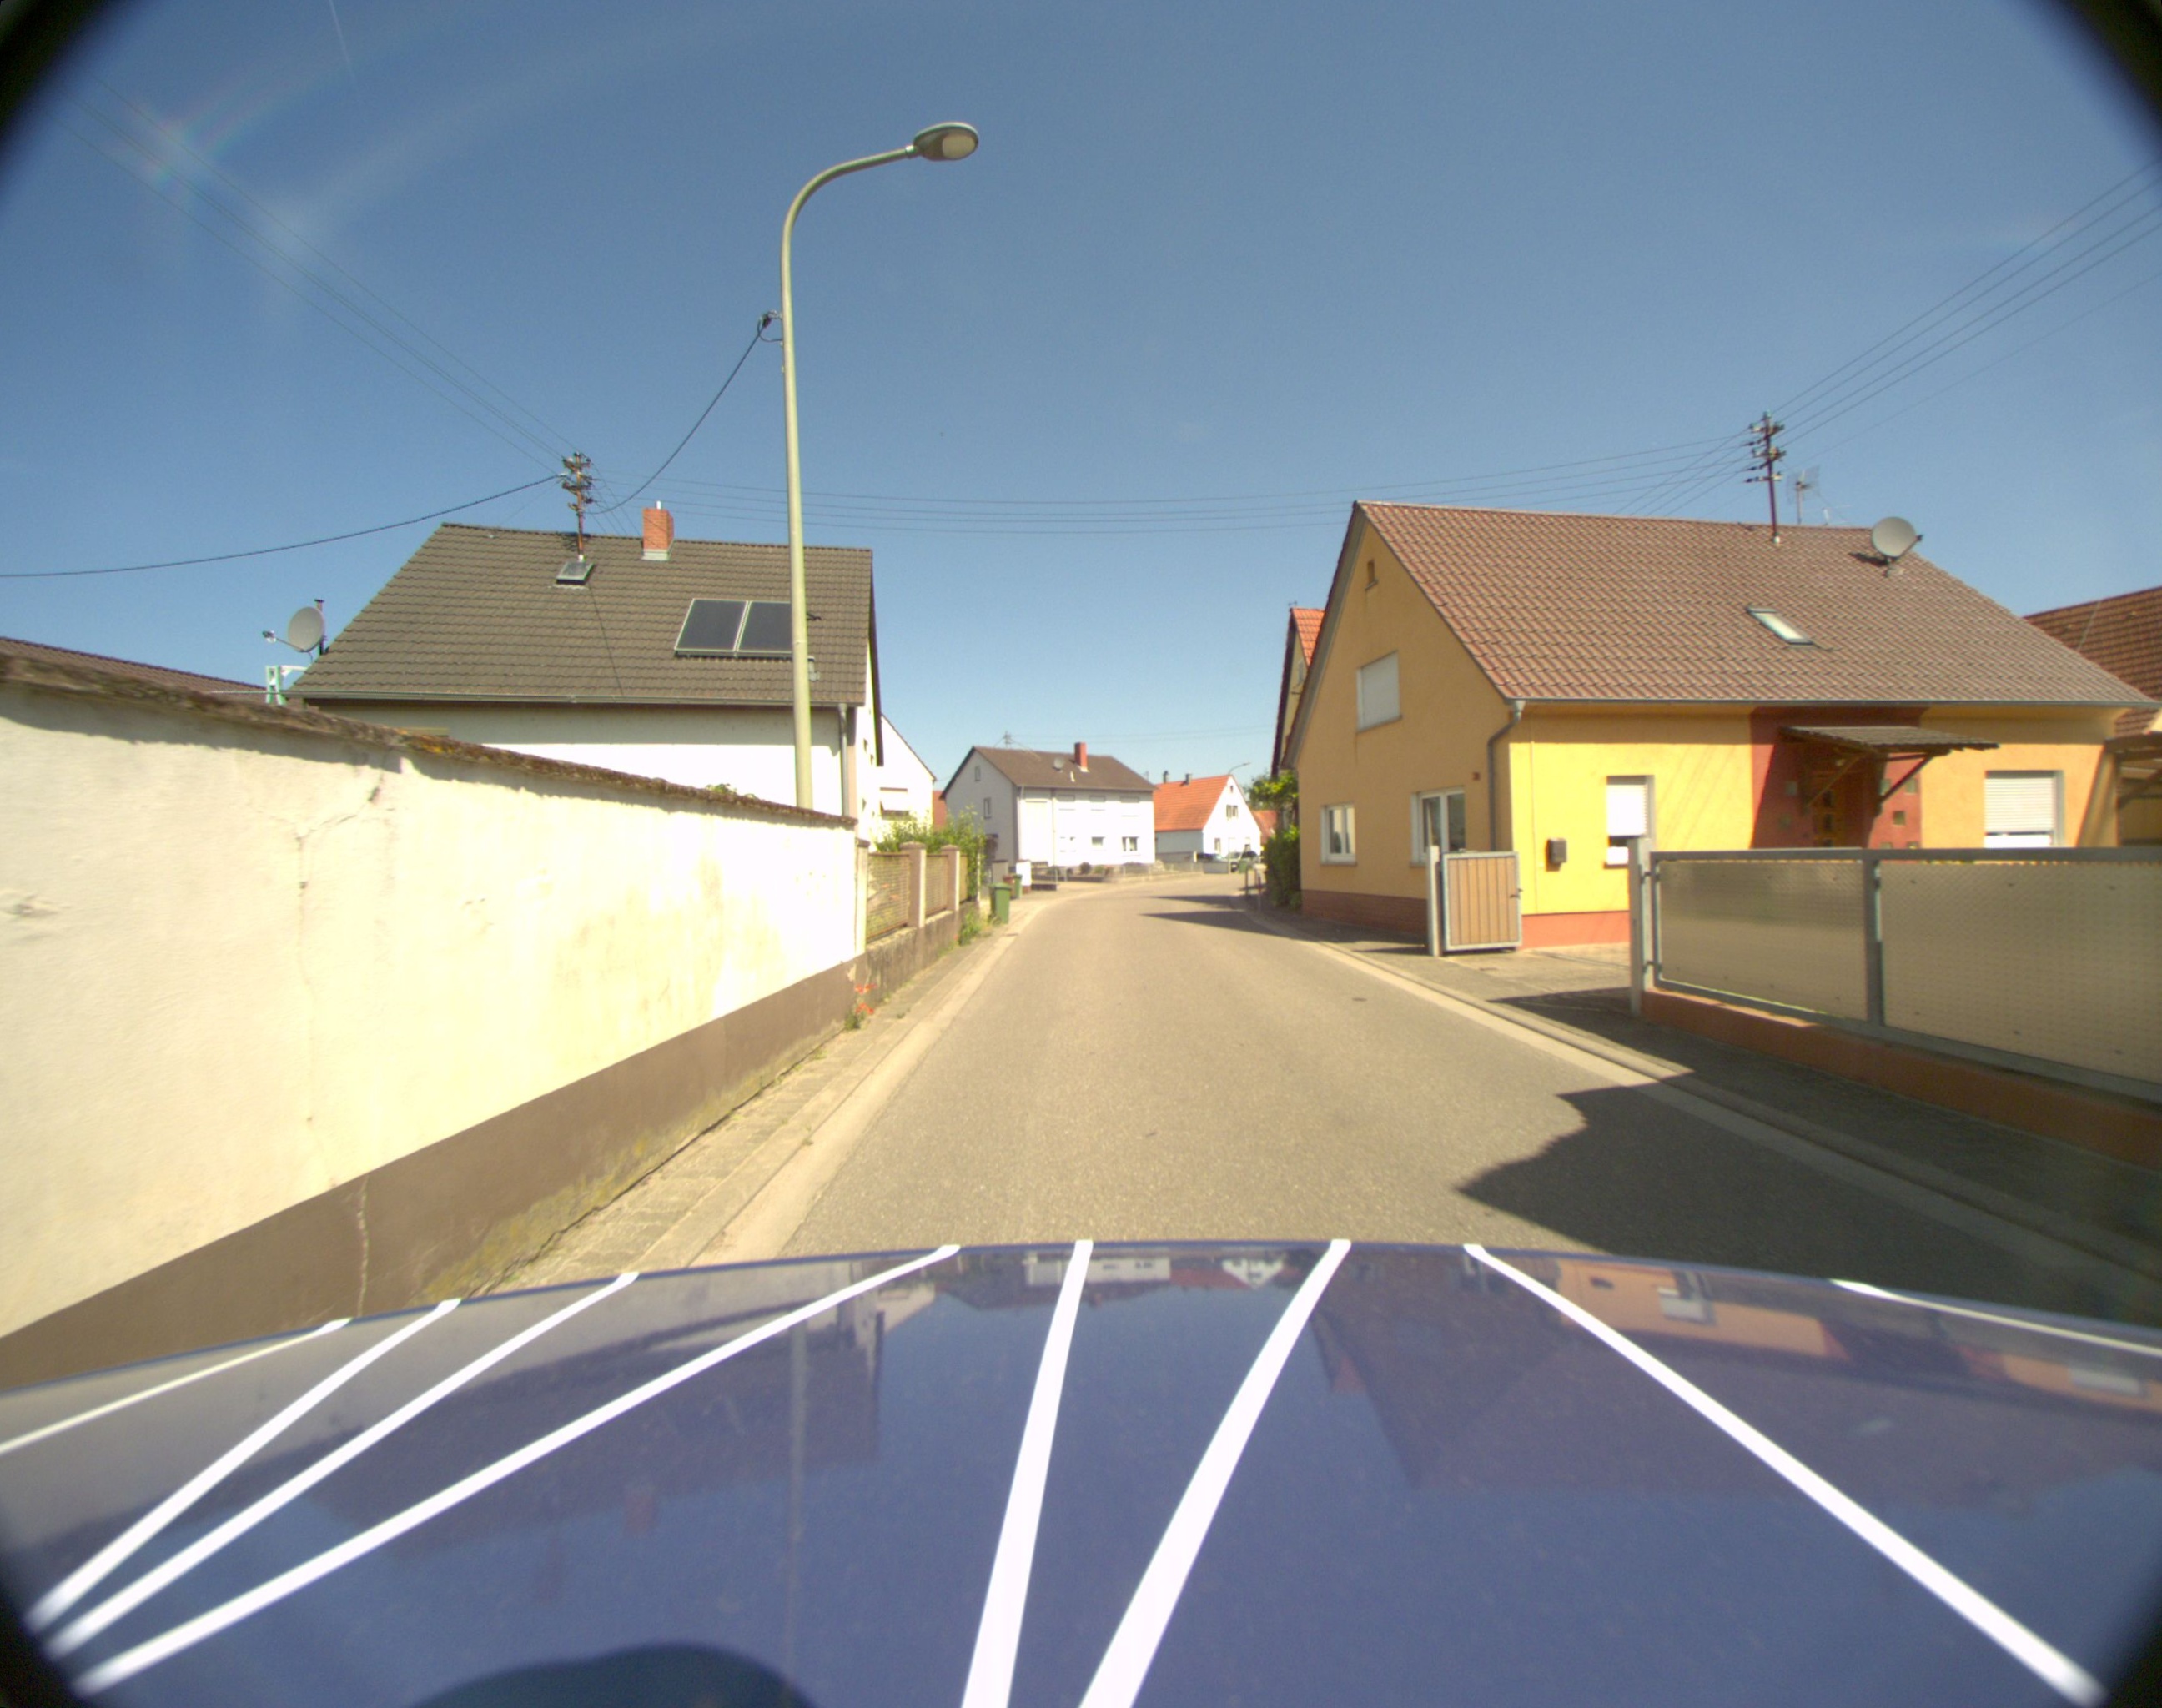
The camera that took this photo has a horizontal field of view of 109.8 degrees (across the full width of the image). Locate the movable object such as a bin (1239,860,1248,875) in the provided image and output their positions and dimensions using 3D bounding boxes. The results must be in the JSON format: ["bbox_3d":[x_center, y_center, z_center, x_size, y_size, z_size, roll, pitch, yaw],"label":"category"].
[{"bbox_3d":[12.284,1.011,57.534,0.570,1.136,0.433,-1,0,0],"label":"movable object such as a bin"}]

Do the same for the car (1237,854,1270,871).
[{"bbox_3d":[14.808,0.731,65.233,1.521,1.366,3.605,-1,0,34],"label":"car"}]

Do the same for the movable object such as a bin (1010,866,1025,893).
[{"bbox_3d":[-2.459,0.984,29.379,0.505,0.971,0.494,-2,1,0],"label":"movable object such as a bin"}]

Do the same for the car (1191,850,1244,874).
[{"bbox_3d":[10.981,0.633,61.266,1.705,1.834,3.989,-2,0,-40],"label":"car"}]

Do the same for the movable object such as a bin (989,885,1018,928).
[{"bbox_3d":[-1.822,1.226,17.809,0.552,0.971,0.432,-2,1,-25],"label":"movable object such as a bin"}]

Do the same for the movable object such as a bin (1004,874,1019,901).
[{"bbox_3d":[-2.588,1.255,28.336,0.505,0.971,0.433,-2,1,0],"label":"movable object such as a bin"}]
